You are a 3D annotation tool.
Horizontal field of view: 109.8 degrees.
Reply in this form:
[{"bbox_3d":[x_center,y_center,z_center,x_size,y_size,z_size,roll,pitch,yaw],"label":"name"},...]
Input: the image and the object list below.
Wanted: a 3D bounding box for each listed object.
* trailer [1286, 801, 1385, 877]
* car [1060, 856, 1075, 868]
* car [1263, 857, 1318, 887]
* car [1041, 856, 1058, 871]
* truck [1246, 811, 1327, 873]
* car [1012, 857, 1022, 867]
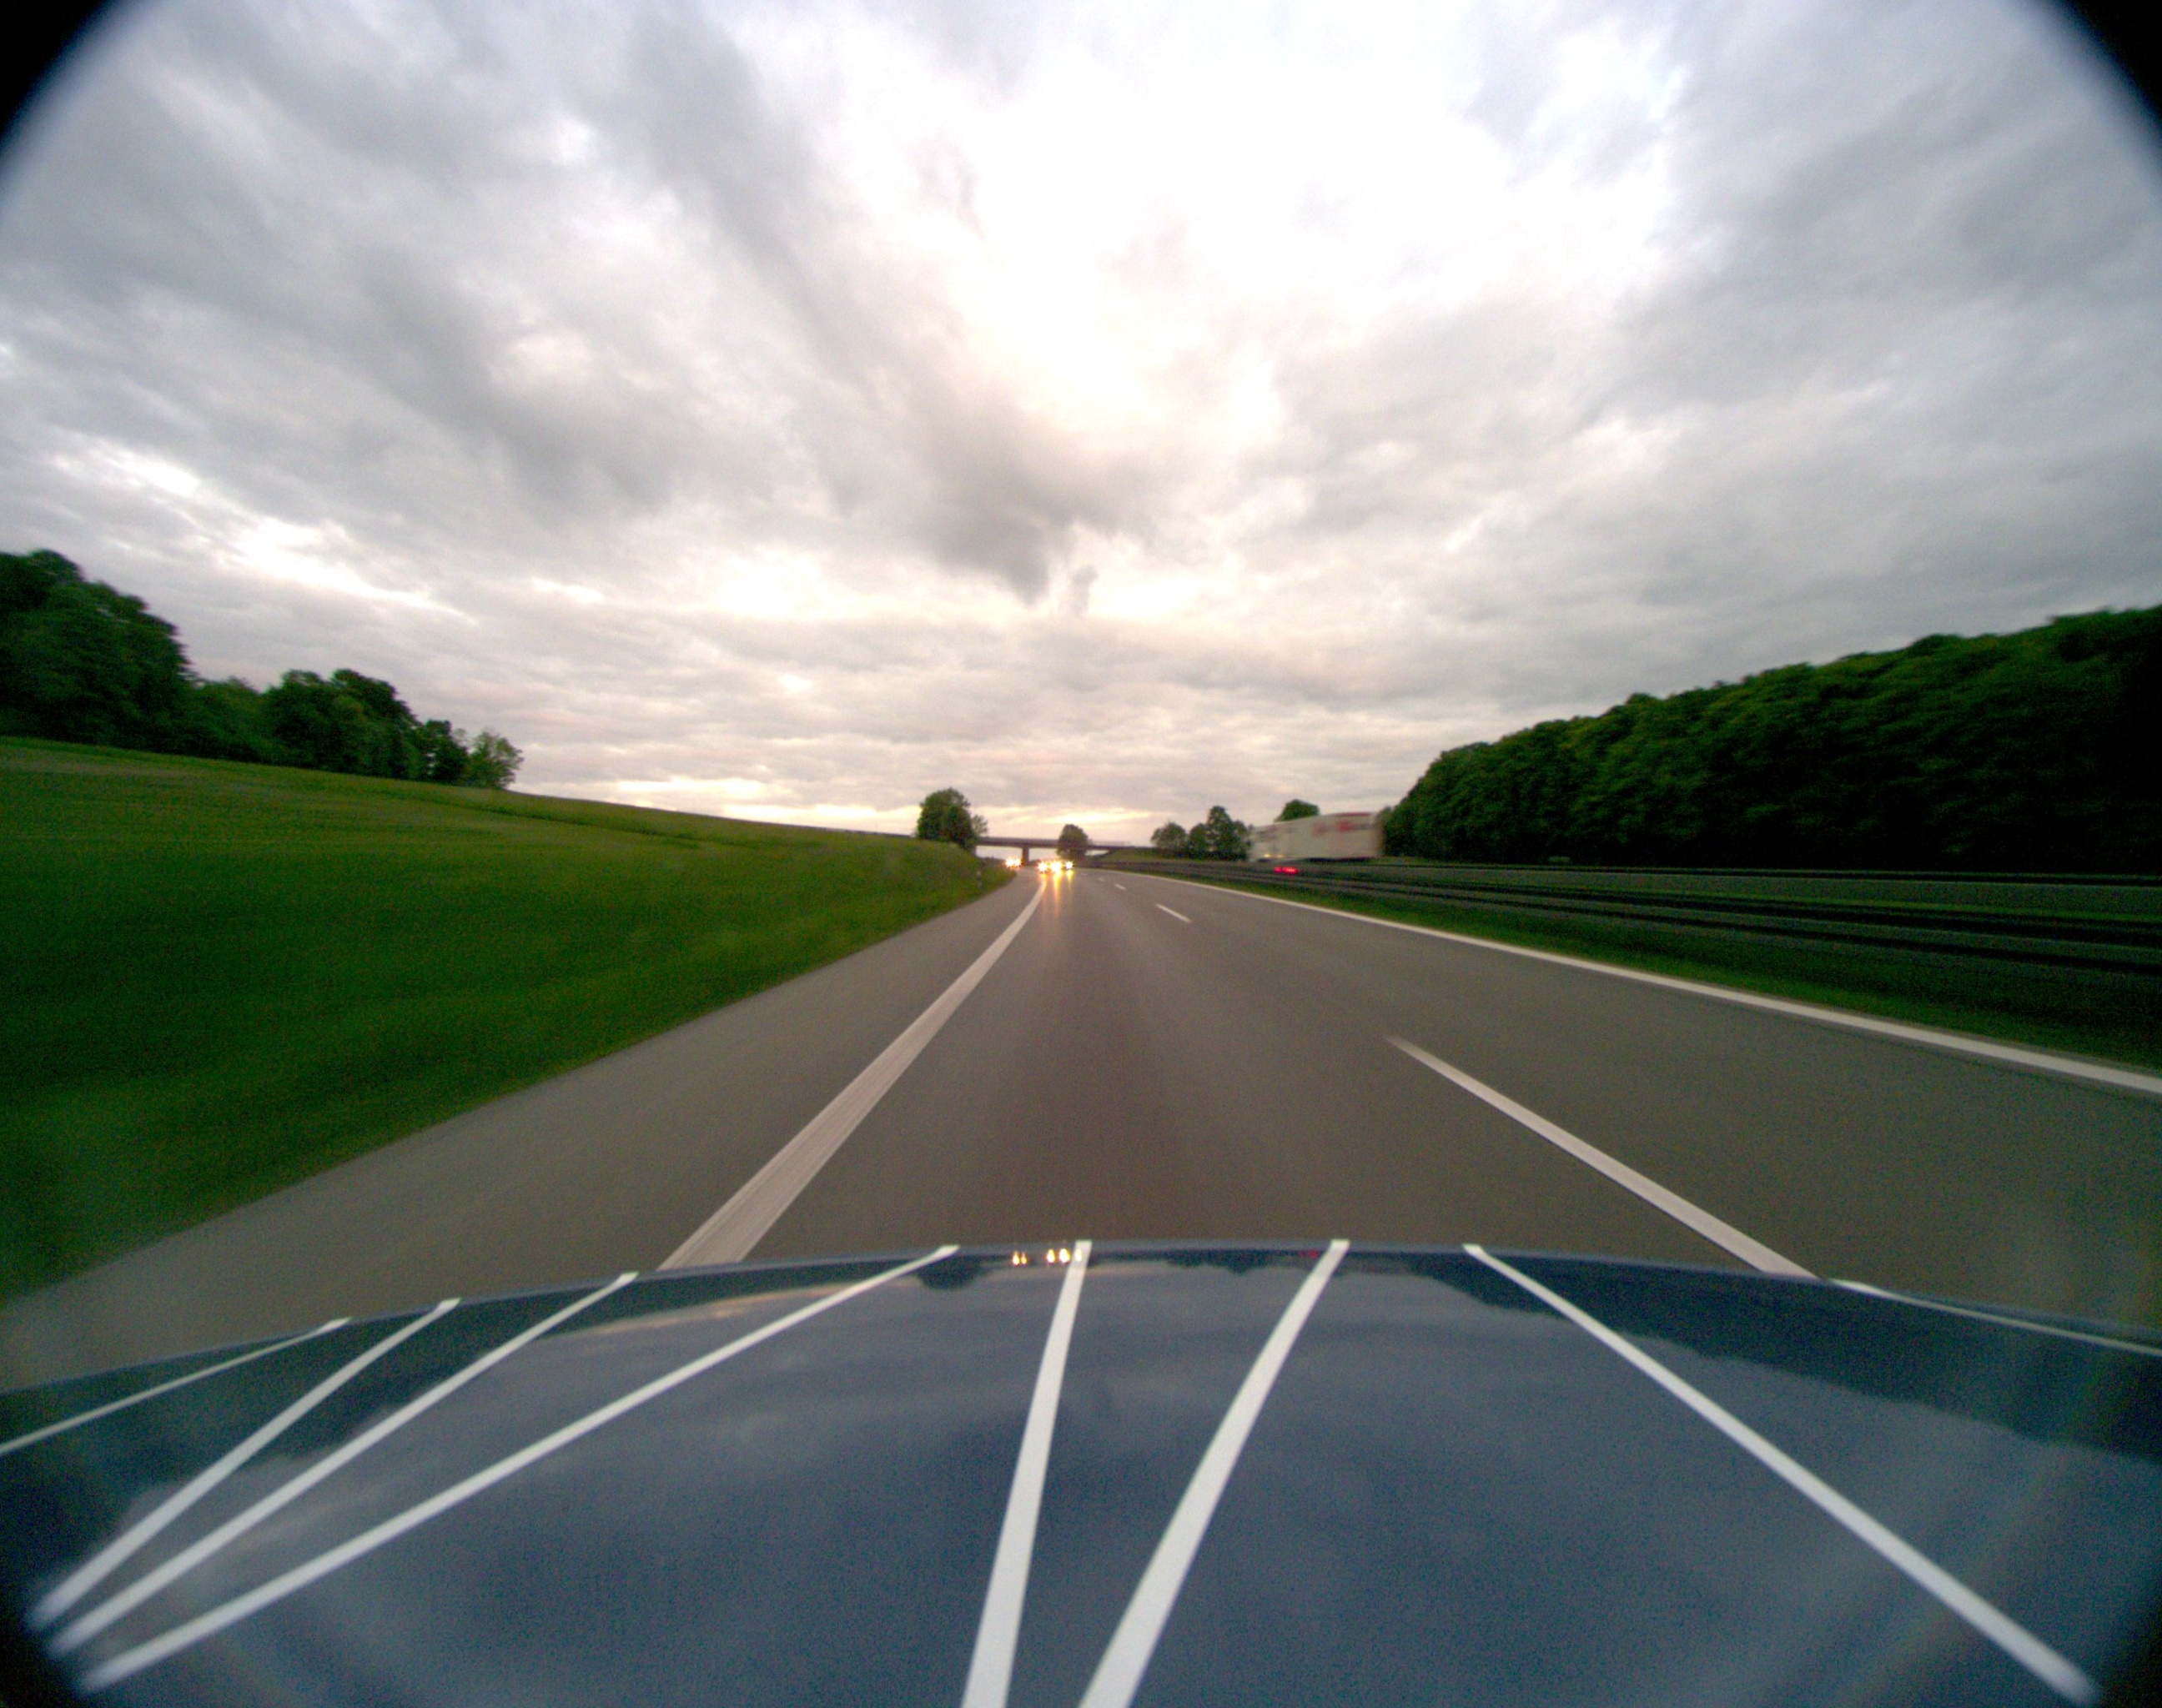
[{"bbox_3d":[15.829,-0.867,48.201,2.839,4.292,9.291,-1,0,-2],"label":"trailer"},{"bbox_3d":[-1.798,0.994,100.293,1.660,1.470,3.998,-1,0,-5],"label":"car"},{"bbox_3d":[11.645,0.958,42.544,1.659,1.526,4.465,1,0,-3],"label":"car"},{"bbox_3d":[-3.395,0.970,80.834,1.682,1.504,3.998,1,0,-4],"label":"car"},{"bbox_3d":[15.373,-0.805,57.891,2.873,4.256,10.062,-1,0,-3],"label":"truck"},{"bbox_3d":[-13.522,1.711,160.236,1.921,1.826,3.998,1,-2,-8],"label":"car"}]
